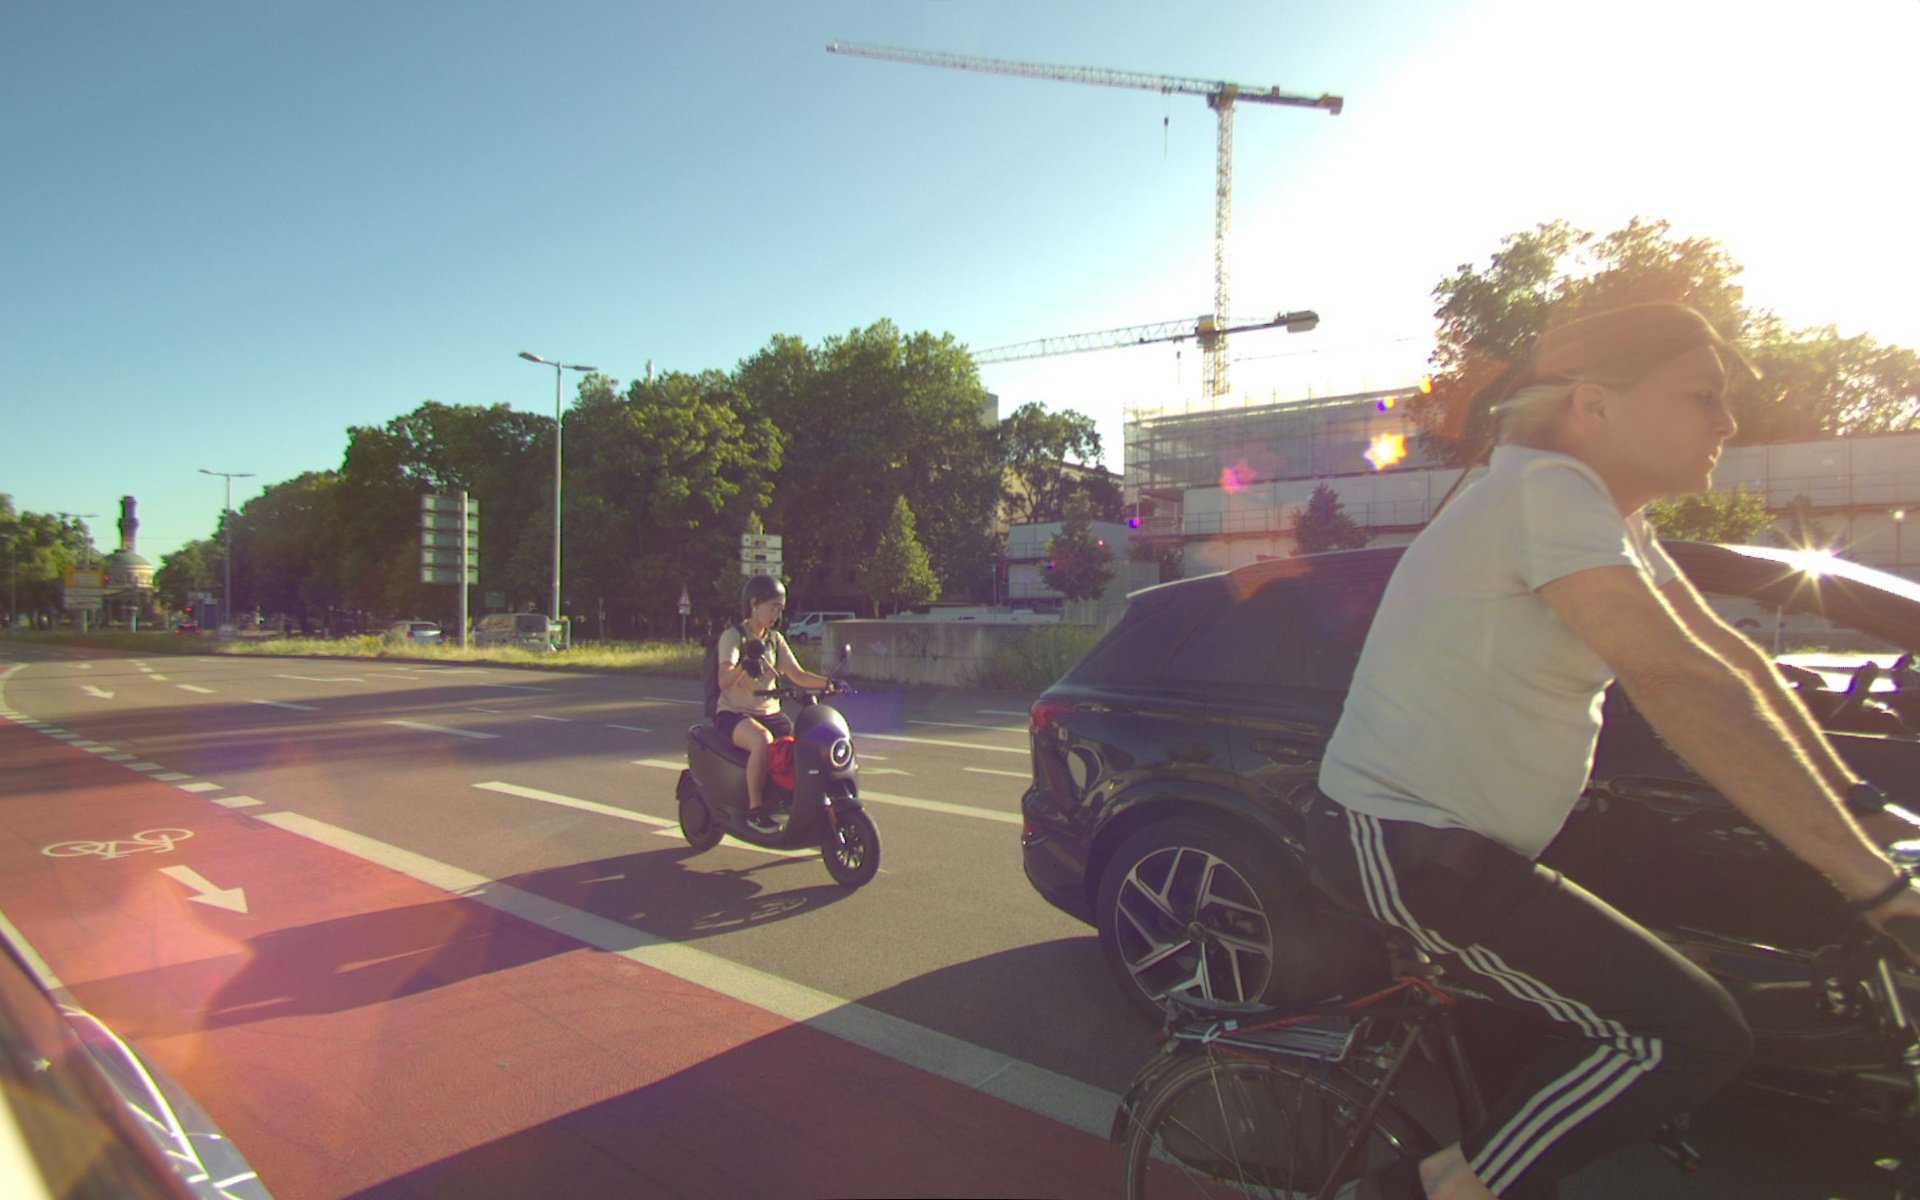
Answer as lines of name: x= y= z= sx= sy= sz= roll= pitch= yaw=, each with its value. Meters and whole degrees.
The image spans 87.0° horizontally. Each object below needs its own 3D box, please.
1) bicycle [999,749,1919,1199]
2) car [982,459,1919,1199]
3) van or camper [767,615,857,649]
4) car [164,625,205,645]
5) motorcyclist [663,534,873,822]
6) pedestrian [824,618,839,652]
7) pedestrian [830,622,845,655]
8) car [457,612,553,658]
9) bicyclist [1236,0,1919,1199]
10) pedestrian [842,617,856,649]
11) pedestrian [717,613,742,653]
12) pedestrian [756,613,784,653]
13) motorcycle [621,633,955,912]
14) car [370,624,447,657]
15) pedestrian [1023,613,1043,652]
bicycle: x=1.013 y=0.890 z=1.352 sx=1.890 sy=1.156 sz=0.731 roll=-1 pitch=-2 yaw=41
car: x=2.562 y=0.556 z=3.191 sx=4.660 sy=1.720 sz=2.144 roll=-1 pitch=-1 yaw=39
van or camper: x=-8.966 y=1.928 z=61.890 sx=1.951 sy=1.960 sz=5.425 roll=-2 pitch=-2 yaw=44
car: x=-61.001 y=2.745 z=79.596 sx=3.979 sy=1.492 sz=1.857 roll=-1 pitch=-2 yaw=41
motorcyclist: x=-1.094 y=0.410 z=5.782 sx=0.877 sy=1.475 sz=0.813 roll=-1 pitch=-2 yaw=41
pedestrian: x=-5.869 y=1.599 z=46.247 sx=0.494 sy=1.522 sz=0.492 roll=-1 pitch=-2 yaw=41
pedestrian: x=-5.751 y=1.794 z=47.599 sx=0.494 sy=1.522 sz=0.492 roll=-1 pitch=-2 yaw=41
car: x=-20.316 y=1.528 z=45.097 sx=4.925 sy=1.937 sz=1.863 roll=-1 pitch=-2 yaw=39
bicyclist: x=0.954 y=0.278 z=1.372 sx=0.851 sy=1.713 sz=0.797 roll=-1 pitch=-2 yaw=41
pedestrian: x=-5.308 y=1.564 z=48.378 sx=0.494 sy=1.522 sz=0.492 roll=-1 pitch=-2 yaw=41
pedestrian: x=-11.910 y=1.698 z=52.325 sx=0.835 sy=2.029 sz=0.949 roll=-1 pitch=0 yaw=24
pedestrian: x=-9.593 y=1.640 z=51.178 sx=0.815 sy=1.978 sz=1.111 roll=-1 pitch=0 yaw=41
motorcycle: x=-1.023 y=0.839 z=5.701 sx=1.943 sy=1.290 sz=0.817 roll=-1 pitch=-2 yaw=41
car: x=-24.191 y=1.753 z=44.343 sx=3.941 sy=1.387 sz=1.705 roll=-1 pitch=-2 yaw=41
pedestrian: x=3.058 y=1.361 z=42.242 sx=0.597 sy=1.614 sz=0.580 roll=-1 pitch=0 yaw=38
